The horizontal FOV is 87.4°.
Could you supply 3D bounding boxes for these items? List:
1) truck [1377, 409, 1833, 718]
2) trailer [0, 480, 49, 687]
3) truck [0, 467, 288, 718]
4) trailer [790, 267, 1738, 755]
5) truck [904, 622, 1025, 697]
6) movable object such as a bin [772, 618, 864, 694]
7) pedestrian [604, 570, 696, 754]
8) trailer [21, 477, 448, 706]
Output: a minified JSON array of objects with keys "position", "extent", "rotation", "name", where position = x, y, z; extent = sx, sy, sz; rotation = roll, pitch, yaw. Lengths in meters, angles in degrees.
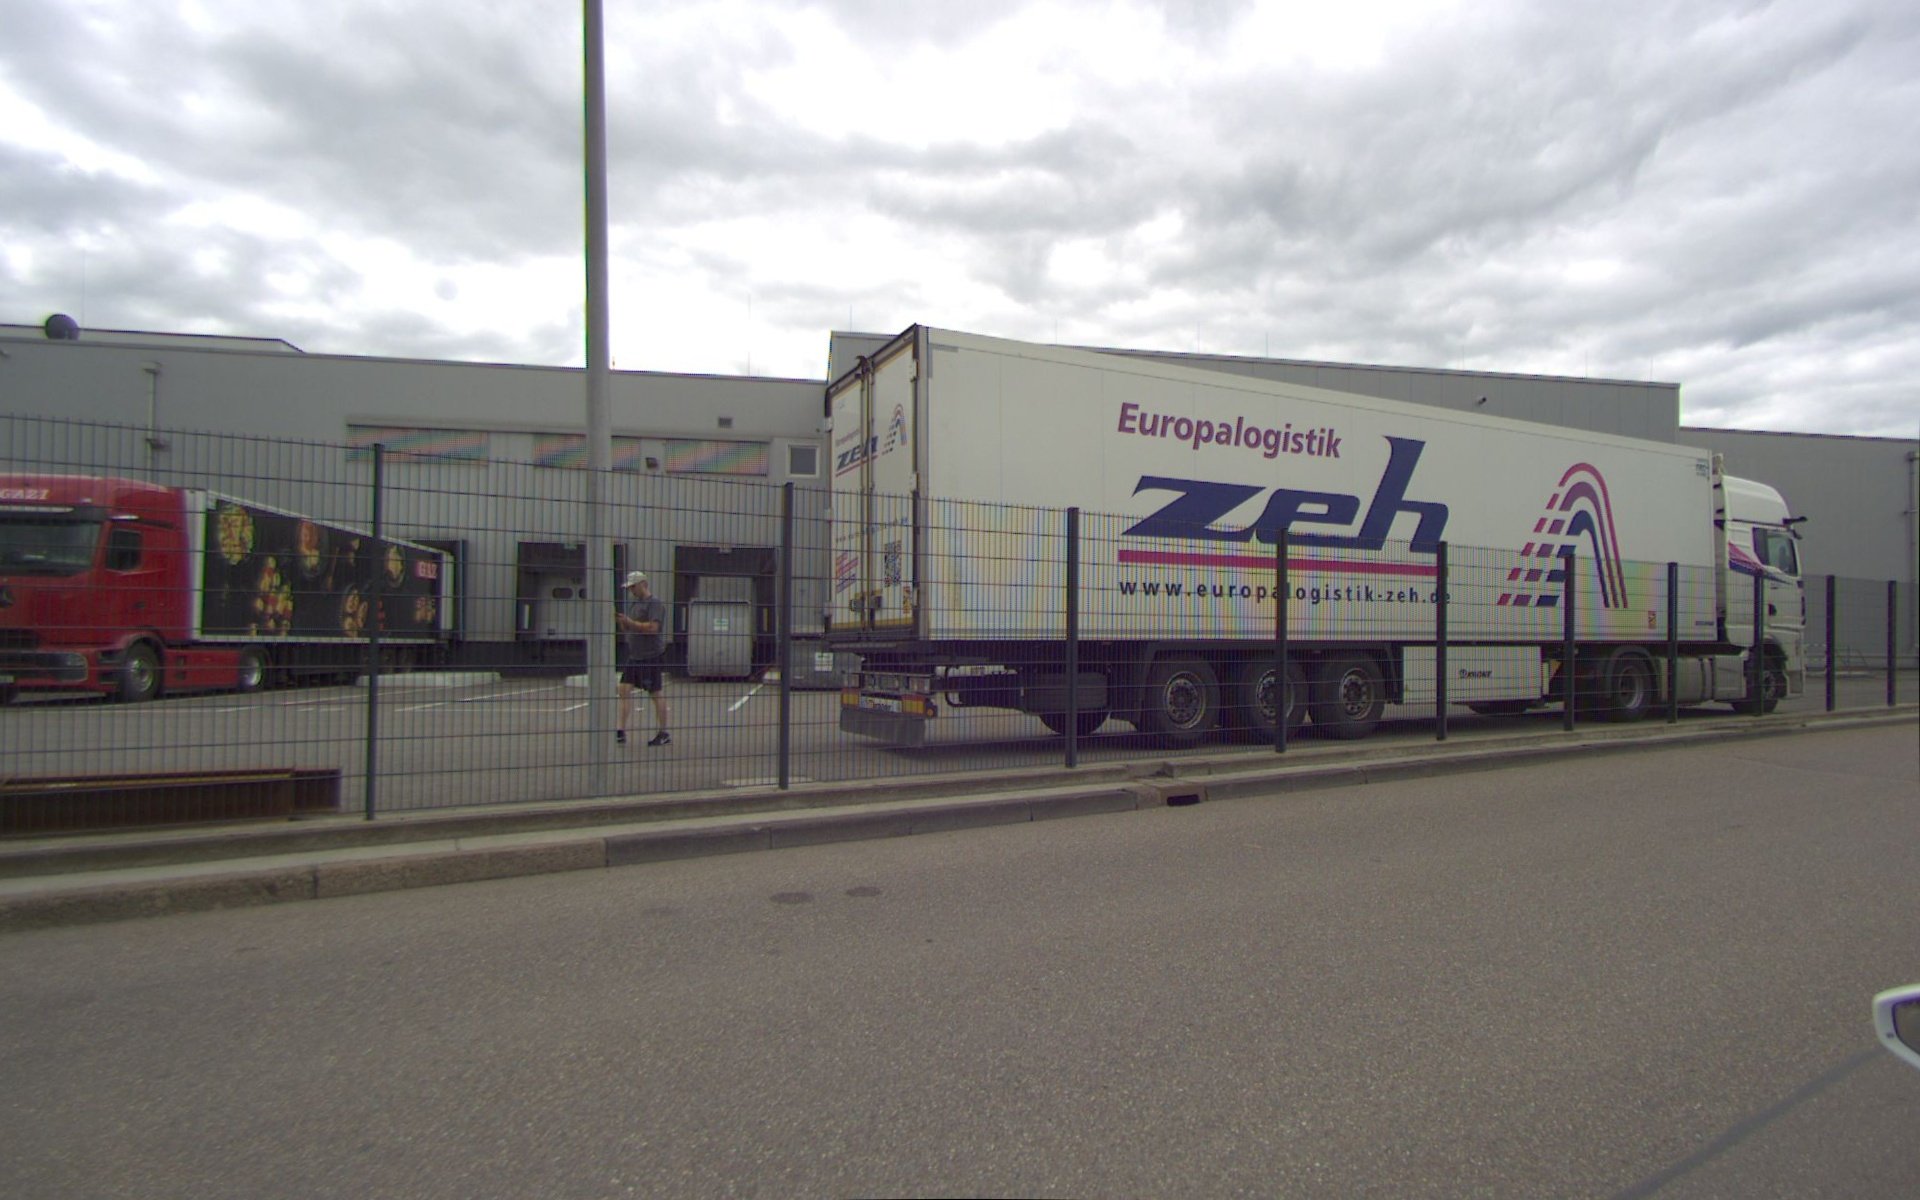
[{"position":[10.568,-0.291,16.441],"extent":[6.853,4.169,3.118],"rotation":[2,-5,-27],"name":"truck"},{"position":[-19.946,-0.494,14.652],"extent":[2.983,4.239,13.990],"rotation":[1,-2,-11],"name":"trailer"},{"position":[-15.680,-0.040,18.826],"extent":[2.751,3.980,5.918],"rotation":[1,-1,-8],"name":"truck"},{"position":[4.857,-0.499,13.422],"extent":[13.842,4.315,3.123],"rotation":[2,-5,-28],"name":"trailer"},{"position":[-0.021,1.410,25.104],"extent":[2.187,1.673,4.921],"rotation":[1,-2,-10],"name":"truck"},{"position":[-3.619,1.385,25.620],"extent":[2.117,1.759,3.995],"rotation":[1,-2,-8],"name":"movable object such as a bin"},{"position":[-3.281,0.641,10.627],"extent":[0.813,1.853,0.695],"rotation":[1,-1,-26],"name":"pedestrian"},{"position":[-16.549,0.029,24.901],"extent":[2.733,4.162,13.076],"rotation":[1,-2,-8],"name":"trailer"}]
